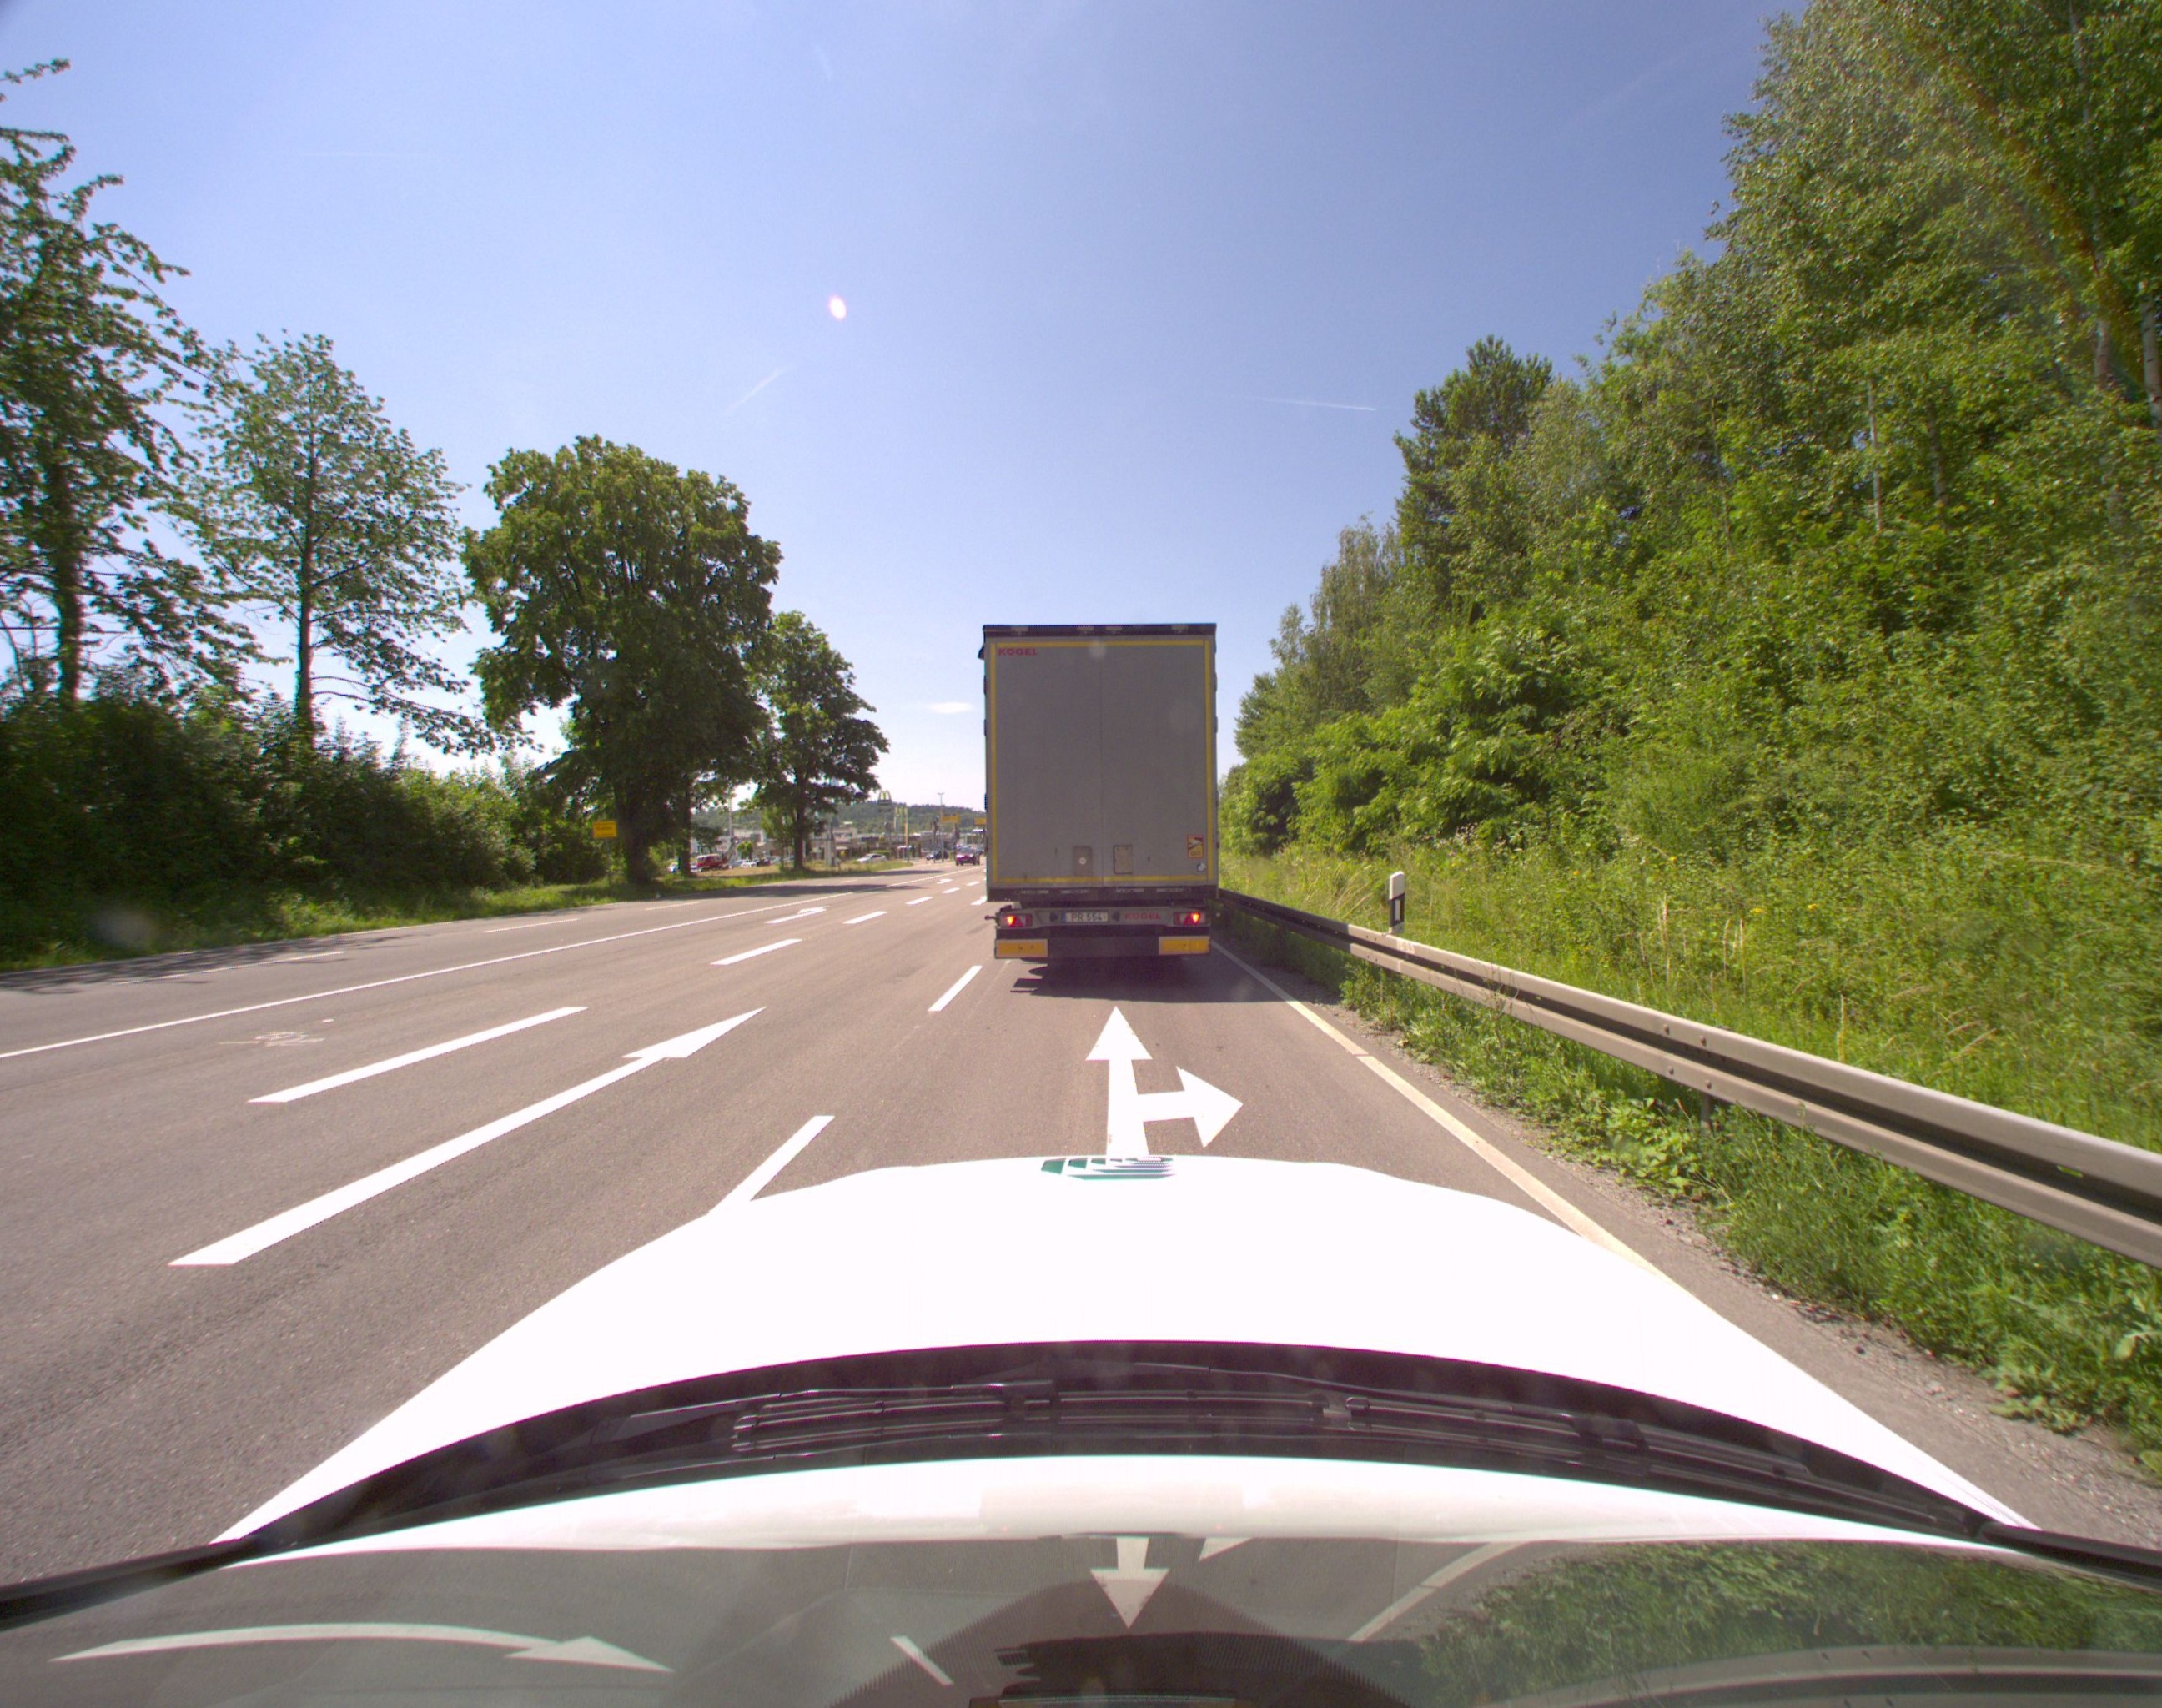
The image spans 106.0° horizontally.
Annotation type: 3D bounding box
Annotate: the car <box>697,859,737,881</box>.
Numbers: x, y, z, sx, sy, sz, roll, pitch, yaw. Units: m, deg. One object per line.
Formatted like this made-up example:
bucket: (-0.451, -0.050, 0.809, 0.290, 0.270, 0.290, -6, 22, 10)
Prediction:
car: (-35.166, 1.539, 78.642, 3.949, 2.013, 2.012, -1, 0, 41)

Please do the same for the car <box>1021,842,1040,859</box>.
car: (-6.226, -0.438, 101.107, 1.986, 2.013, 4.001, 0, 0, 1)

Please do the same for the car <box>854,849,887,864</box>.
car: (-29.049, 0.292, 112.273, 1.974, 2.013, 4.026, -1, 0, 37)

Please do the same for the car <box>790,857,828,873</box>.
car: (-28.714, 1.155, 86.005, 3.948, 1.618, 1.852, -1, 0, 38)

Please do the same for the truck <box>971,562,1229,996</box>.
truck: (0.460, -0.756, 17.032, 2.745, 4.639, 16.661, 0, 0, 2)

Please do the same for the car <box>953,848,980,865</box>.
car: (-10.462, 0.190, 74.361, 1.897, 1.508, 3.764, -1, 0, 0)

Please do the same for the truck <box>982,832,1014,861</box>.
truck: (-12.901, -1.159, 128.243, 2.958, 4.176, 16.576, -1, 0, 1)

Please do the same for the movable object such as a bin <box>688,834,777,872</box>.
movable object such as a bin: (-31.822, -0.120, 74.528, 3.013, 3.298, 6.835, -1, 1, 41)

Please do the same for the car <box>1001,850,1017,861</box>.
car: (-9.655, 0.238, 108.889, 1.761, 1.386, 3.999, 0, 0, 0)

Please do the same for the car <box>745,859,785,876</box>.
car: (-31.798, 1.324, 82.022, 3.948, 1.651, 2.013, -1, 0, 38)

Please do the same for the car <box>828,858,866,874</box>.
car: (-25.113, 1.267, 87.380, 3.948, 1.618, 1.852, -1, 0, 38)

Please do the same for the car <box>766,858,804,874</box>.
car: (-30.388, 1.209, 83.617, 3.948, 1.618, 1.852, -1, 0, 38)
